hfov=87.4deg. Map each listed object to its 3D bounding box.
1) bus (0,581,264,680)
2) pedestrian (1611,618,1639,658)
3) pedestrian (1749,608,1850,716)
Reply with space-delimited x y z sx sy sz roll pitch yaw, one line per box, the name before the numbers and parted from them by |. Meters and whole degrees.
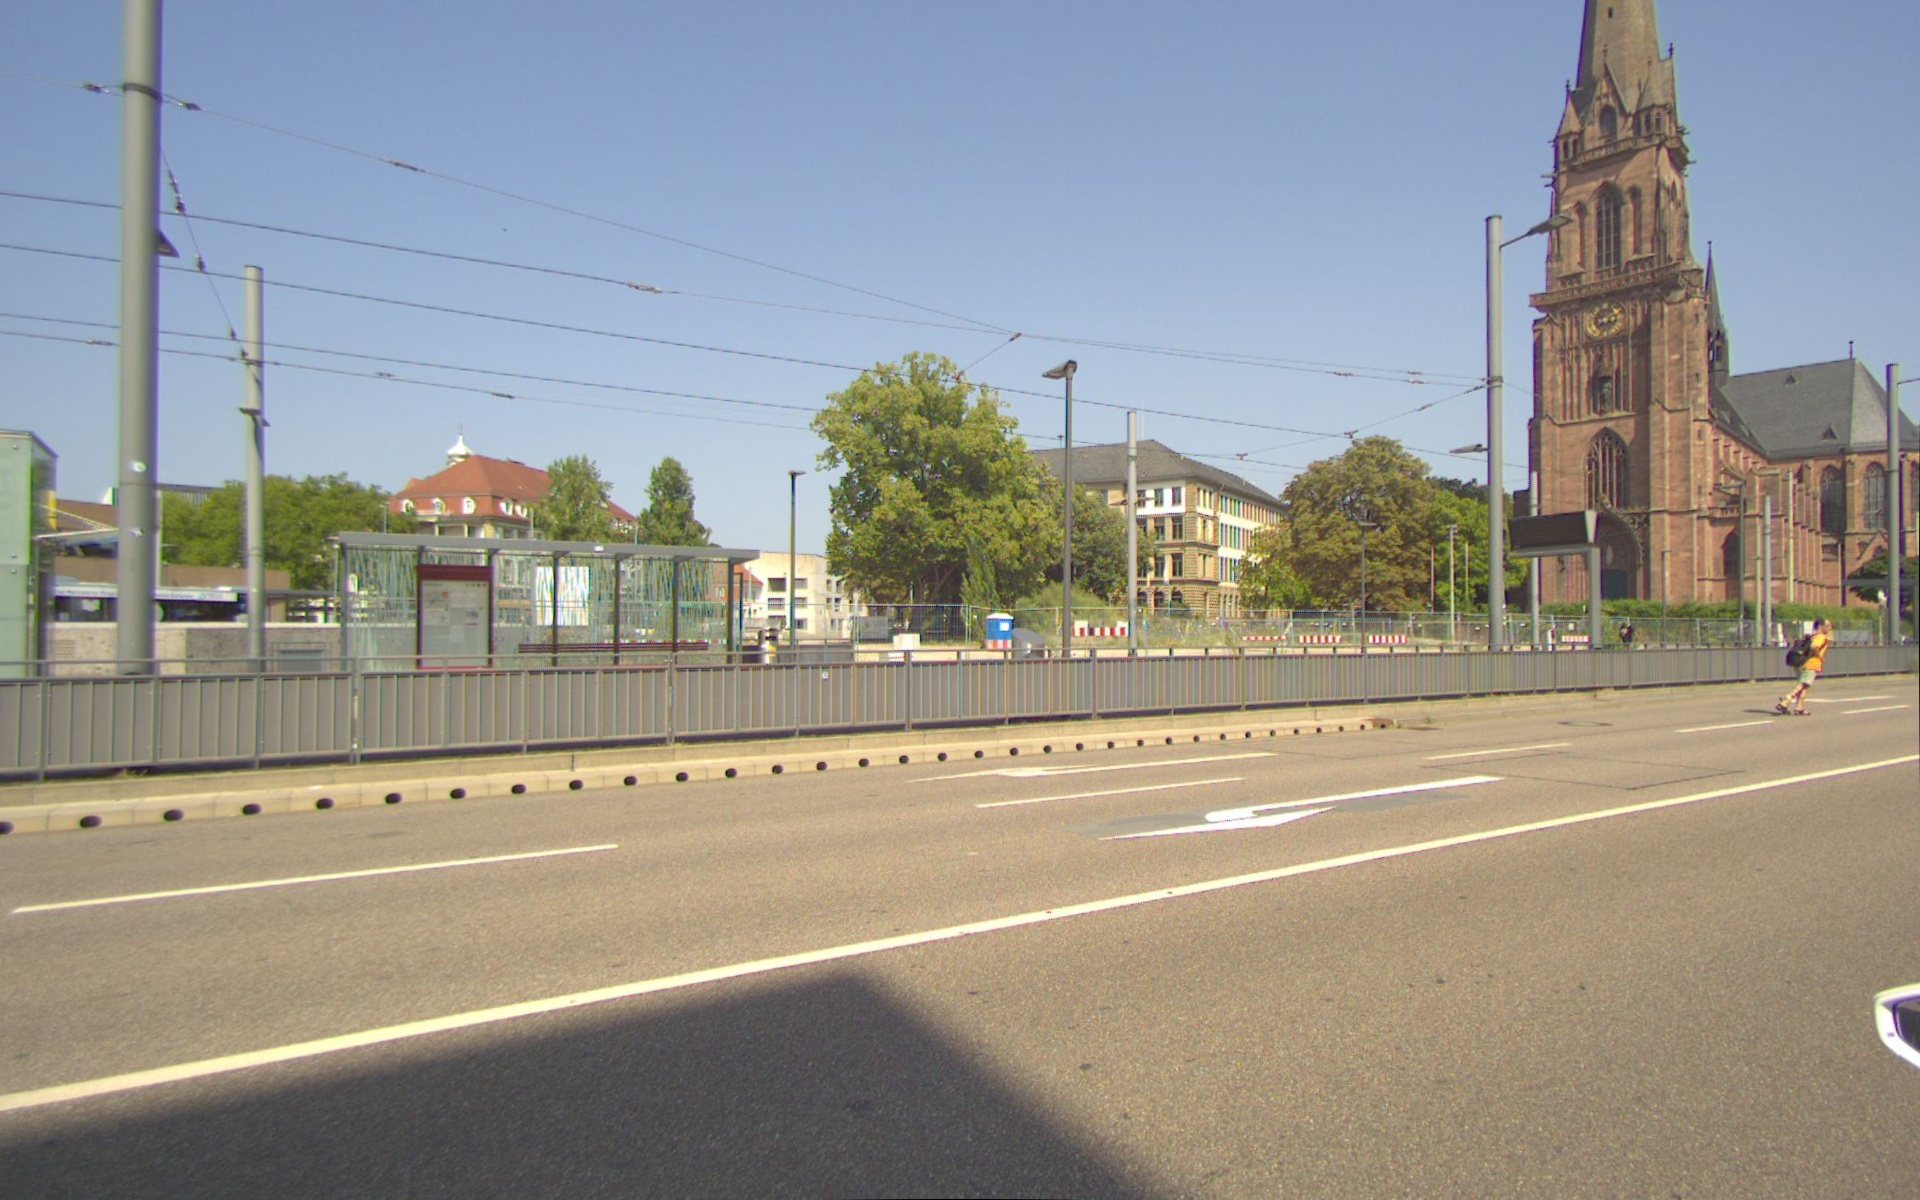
bus | -33.314 1.104 38.270 2.623 3.375 12.766 0 -1 13
pedestrian | 29.737 1.715 44.899 0.712 1.775 0.825 2 -2 -30
pedestrian | 14.221 1.031 17.045 1.047 1.775 0.764 0 -2 7
